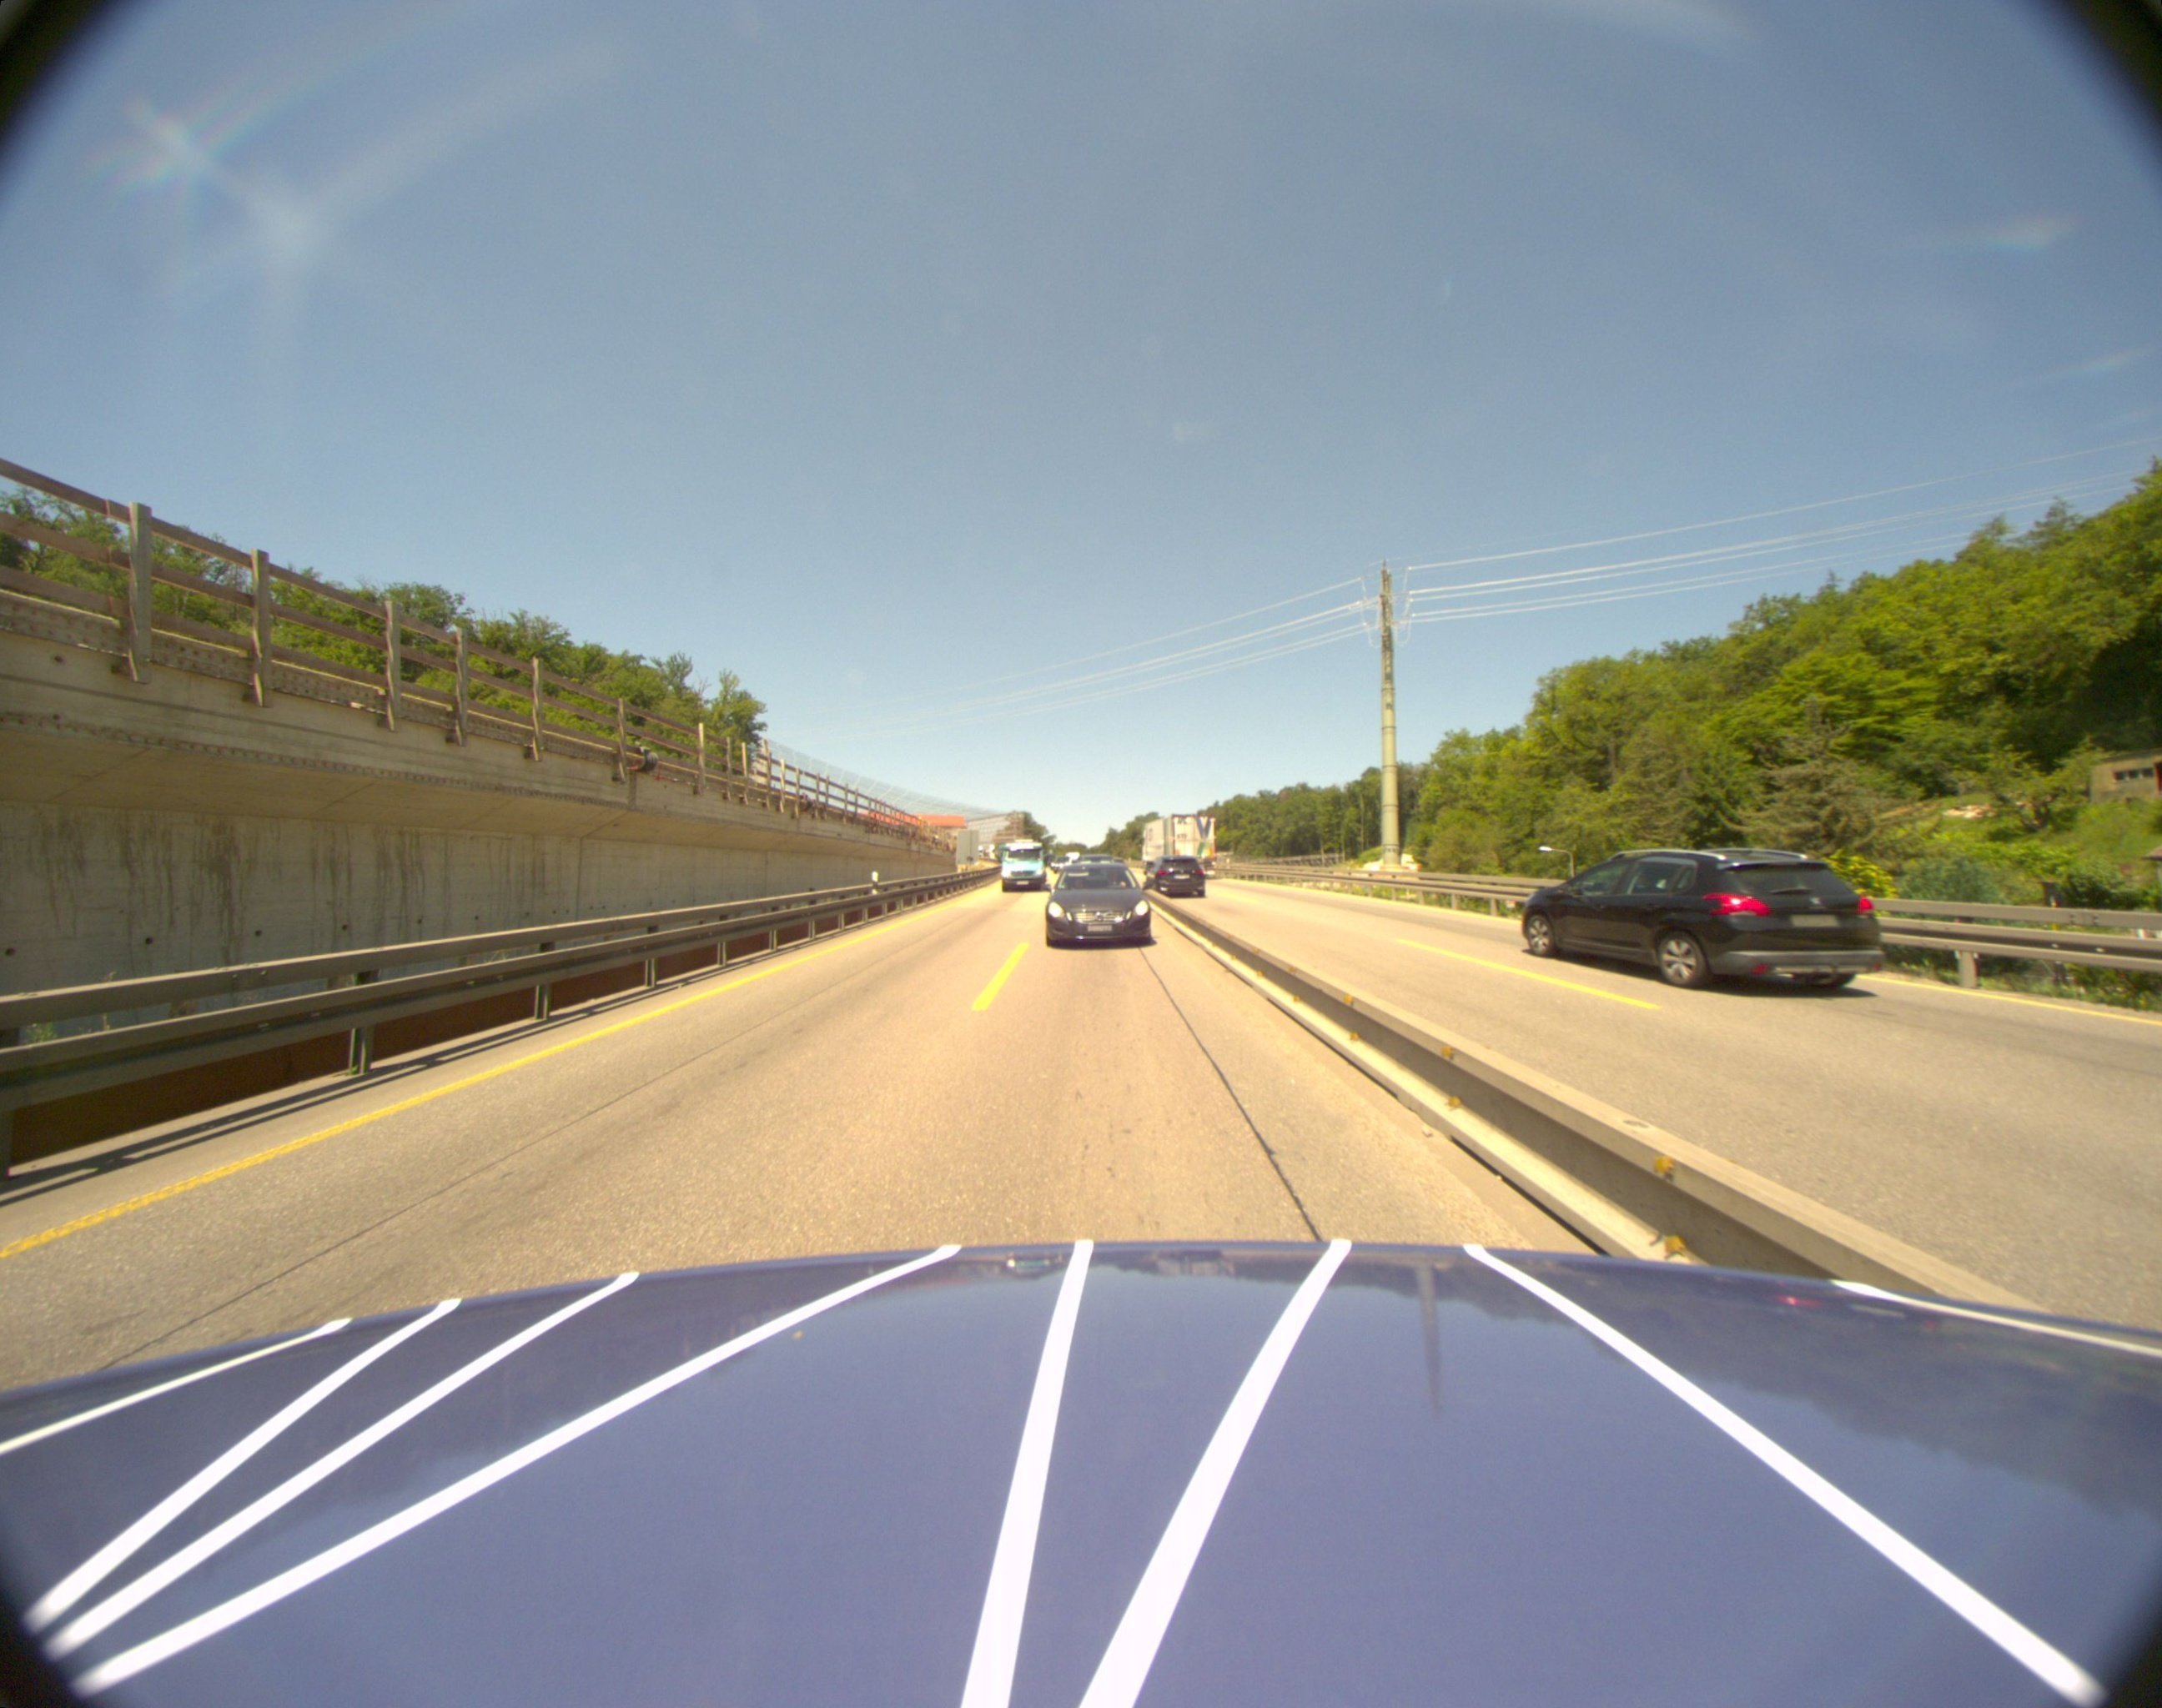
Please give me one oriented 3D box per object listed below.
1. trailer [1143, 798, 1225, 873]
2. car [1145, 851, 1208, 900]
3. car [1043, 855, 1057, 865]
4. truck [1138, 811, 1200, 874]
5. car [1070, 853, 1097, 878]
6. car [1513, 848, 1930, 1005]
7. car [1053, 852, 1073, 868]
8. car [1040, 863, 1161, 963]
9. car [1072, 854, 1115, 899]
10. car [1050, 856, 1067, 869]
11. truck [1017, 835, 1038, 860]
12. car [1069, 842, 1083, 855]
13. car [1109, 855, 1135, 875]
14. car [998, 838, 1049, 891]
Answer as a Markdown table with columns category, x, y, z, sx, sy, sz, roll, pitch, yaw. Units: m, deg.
| category | x | y | z | sx | sy | sz | roll | pitch | yaw |
| --- | --- | --- | --- | --- | --- | --- | --- | --- | --- |
| trailer | 6.709 | -1.173 | 52.443 | 3.260 | 4.353 | 14.054 | -2 | 1 | -2 |
| car | 3.518 | 0.736 | 28.652 | 1.824 | 1.577 | 4.159 | -4 | 1 | 1 |
| car | -4.260 | 0.818 | 104.643 | 1.586 | 1.366 | 3.344 | -2 | 1 | 1 |
| truck | 6.535 | -0.836 | 58.067 | 3.312 | 4.337 | 8.298 | -2 | 1 | -2 |
| car | 0.189 | 0.778 | 51.721 | 1.736 | 1.557 | 3.619 | -2 | 1 | 0 |
| car | 7.284 | 0.747 | 9.294 | 1.736 | 1.480 | 4.001 | -1 | -1 | 1 |
| car | -1.673 | 0.512 | 70.875 | 1.647 | 1.366 | 3.344 | -2 | 1 | 1 |
| car | 0.197 | 0.940 | 14.085 | 1.844 | 1.475 | 4.561 | -1 | 0 | -3 |
| car | 0.476 | 0.815 | 29.179 | 1.519 | 1.543 | 3.860 | -1 | 1 | 1 |
| car | -2.580 | 0.945 | 87.311 | 1.647 | 1.366 | 3.343 | -2 | 1 | -5 |
| truck | -8.223 | -0.979 | 115.244 | 2.472 | 3.464 | 9.861 | -2 | 1 | -7 |
| car | -0.762 | -0.824 | 113.368 | 1.999 | 1.999 | 4.856 | -1 | 1 | -1 |
| car | 3.185 | 0.804 | 59.141 | 1.795 | 1.444 | 4.634 | -1 | 1 | 0 |
| car | -2.720 | 0.445 | 37.376 | 2.217 | 2.312 | 6.899 | -1 | 1 | -3 |
